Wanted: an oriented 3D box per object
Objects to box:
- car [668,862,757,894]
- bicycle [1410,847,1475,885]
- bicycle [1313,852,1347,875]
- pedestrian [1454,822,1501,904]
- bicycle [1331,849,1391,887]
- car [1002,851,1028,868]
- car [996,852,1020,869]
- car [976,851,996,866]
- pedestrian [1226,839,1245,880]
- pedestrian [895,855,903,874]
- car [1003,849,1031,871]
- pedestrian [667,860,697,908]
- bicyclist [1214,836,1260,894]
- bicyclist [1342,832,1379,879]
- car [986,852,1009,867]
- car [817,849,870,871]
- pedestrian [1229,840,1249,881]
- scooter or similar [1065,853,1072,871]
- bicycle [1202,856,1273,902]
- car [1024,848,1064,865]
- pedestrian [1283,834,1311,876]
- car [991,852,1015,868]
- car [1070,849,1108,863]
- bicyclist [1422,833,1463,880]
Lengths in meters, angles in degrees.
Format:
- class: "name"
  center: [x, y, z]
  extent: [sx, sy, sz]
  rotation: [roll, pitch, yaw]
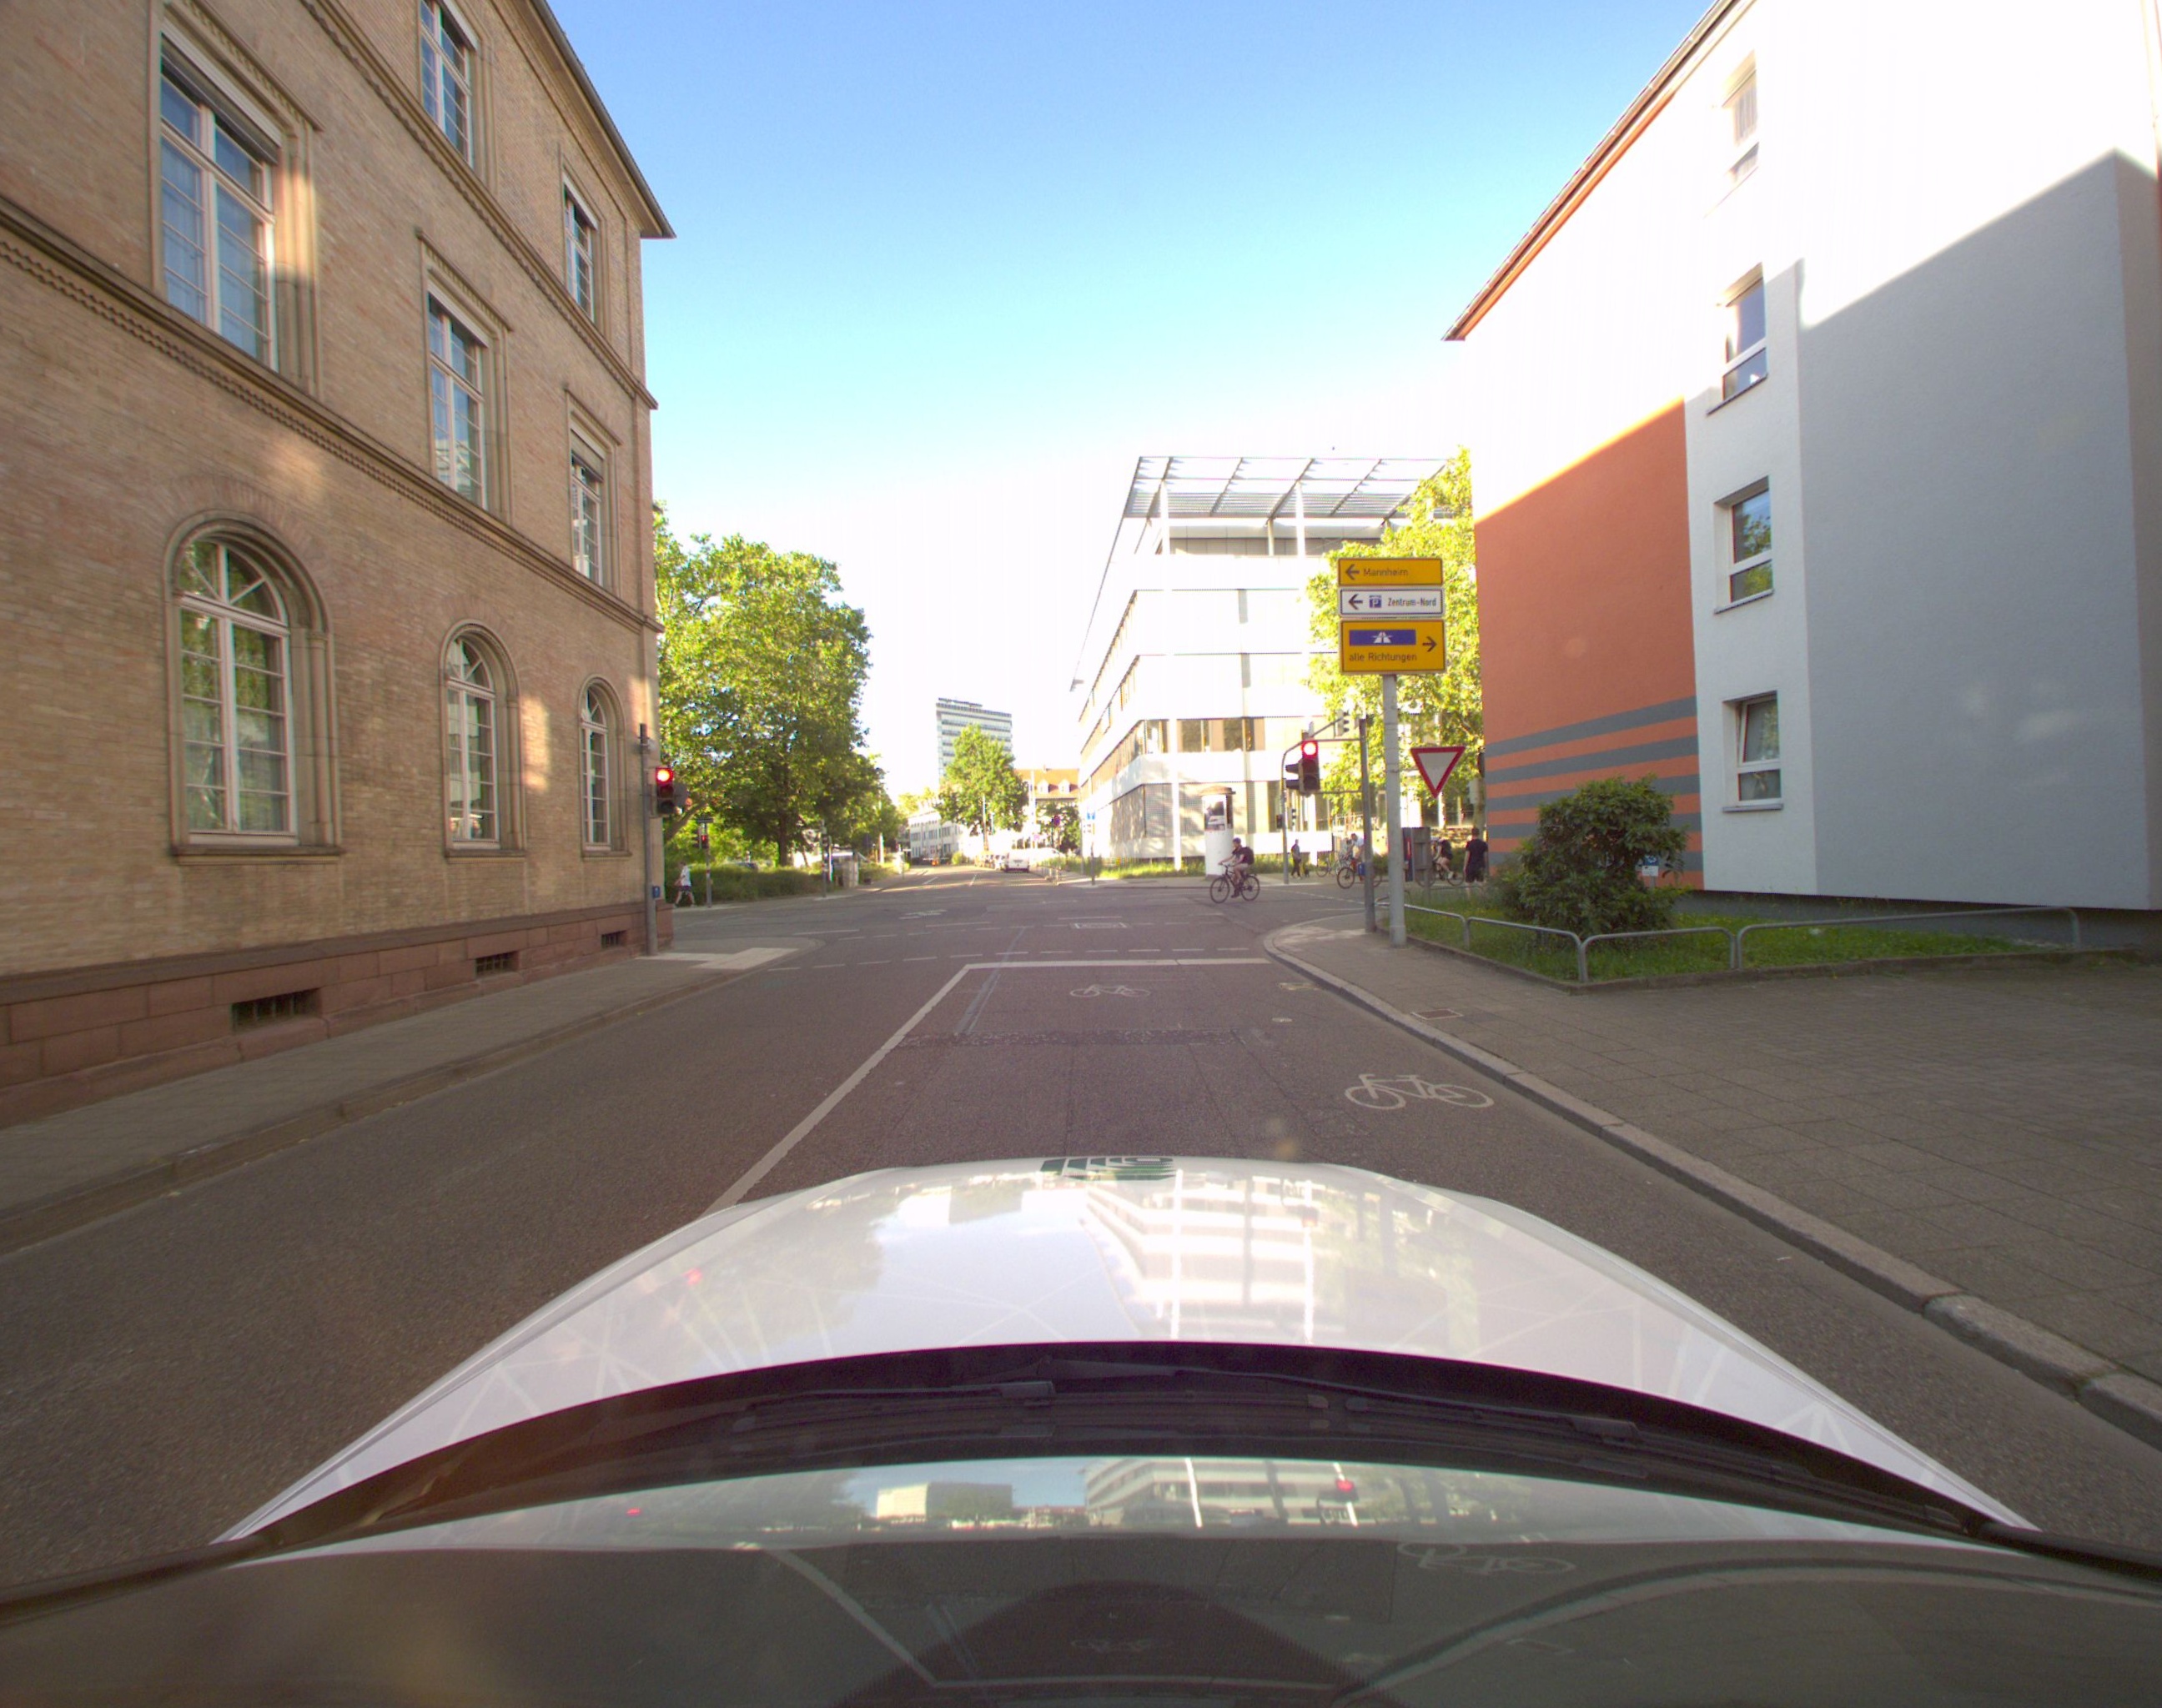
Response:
- class: "car"
  center: [-17.083, 1.100, 37.895]
  extent: [3.407, 1.457, 1.646]
  rotation: [0, -1, -8]
- class: "bicycle"
  center: [11.514, 0.372, 25.953]
  extent: [1.773, 1.152, 0.627]
  rotation: [-2, 0, -2]
- class: "bicycle"
  center: [11.006, 0.422, 36.019]
  extent: [0.381, 1.008, 1.416]
  rotation: [-2, 0, -40]
- class: "pedestrian"
  center: [9.011, 0.207, 18.508]
  extent: [0.723, 1.810, 0.693]
  rotation: [0, -1, -39]
- class: "bicycle"
  center: [9.362, 0.453, 27.227]
  extent: [1.972, 1.152, 0.622]
  rotation: [-2, 0, -24]
- class: "car"
  center: [-5.846, 0.487, 71.345]
  extent: [1.993, 1.499, 4.638]
  rotation: [0, -1, -8]
- class: "car"
  center: [-6.919, 0.617, 77.146]
  extent: [1.993, 1.499, 4.638]
  rotation: [0, -1, -8]
- class: "car"
  center: [-11.299, 0.550, 96.296]
  extent: [1.995, 1.725, 4.633]
  rotation: [0, -1, -11]
- class: "pedestrian"
  center: [6.714, 0.241, 35.415]
  extent: [0.759, 1.795, 0.650]
  rotation: [-1, -1, 14]
- class: "pedestrian"
  center: [-15.872, 0.918, 71.050]
  extent: [0.700, 1.587, 0.633]
  rotation: [0, -1, -14]
- class: "car"
  center: [-5.172, 0.474, 65.111]
  extent: [1.992, 1.725, 4.640]
  rotation: [0, -1, -7]
- class: "pedestrian"
  center: [-15.754, 1.175, 32.175]
  extent: [0.921, 1.869, 0.734]
  rotation: [0, -1, -38]
- class: "bicyclist"
  center: [4.329, 0.292, 22.561]
  extent: [1.082, 1.527, 0.587]
  rotation: [-2, 0, -29]
- class: "bicyclist"
  center: [9.343, 0.059, 27.238]
  extent: [0.920, 1.522, 0.699]
  rotation: [-2, 0, -24]
- class: "car"
  center: [-8.883, 0.601, 86.372]
  extent: [1.994, 1.499, 4.635]
  rotation: [0, -1, -10]
- class: "car"
  center: [-22.023, 0.542, 75.762]
  extent: [4.441, 2.014, 1.995]
  rotation: [0, -1, -8]
- class: "pedestrian"
  center: [6.698, 0.297, 34.567]
  extent: [0.759, 1.719, 0.650]
  rotation: [-1, -1, 15]
- class: "scooter or similar"
  center: [-0.913, 0.585, 58.468]
  extent: [0.436, 1.256, 1.418]
  rotation: [-2, 0, -2]
- class: "bicycle"
  center: [4.351, 0.670, 22.552]
  extent: [1.975, 1.152, 0.587]
  rotation: [-2, 0, -30]
- class: "car"
  center: [-4.681, 0.284, 103.242]
  extent: [4.802, 2.159, 1.989]
  rotation: [0, -1, -16]
- class: "pedestrian"
  center: [9.545, 0.035, 35.986]
  extent: [0.766, 1.815, 0.906]
  rotation: [0, -1, -40]
- class: "car"
  center: [-7.841, 0.594, 81.619]
  extent: [1.994, 1.499, 4.270]
  rotation: [0, -1, -11]
- class: "car"
  center: [1.025, 0.265, 104.948]
  extent: [4.644, 1.725, 1.990]
  rotation: [0, -1, -15]
- class: "bicyclist"
  center: [11.518, 0.069, 25.946]
  extent: [0.968, 1.446, 0.627]
  rotation: [-2, 0, -1]
